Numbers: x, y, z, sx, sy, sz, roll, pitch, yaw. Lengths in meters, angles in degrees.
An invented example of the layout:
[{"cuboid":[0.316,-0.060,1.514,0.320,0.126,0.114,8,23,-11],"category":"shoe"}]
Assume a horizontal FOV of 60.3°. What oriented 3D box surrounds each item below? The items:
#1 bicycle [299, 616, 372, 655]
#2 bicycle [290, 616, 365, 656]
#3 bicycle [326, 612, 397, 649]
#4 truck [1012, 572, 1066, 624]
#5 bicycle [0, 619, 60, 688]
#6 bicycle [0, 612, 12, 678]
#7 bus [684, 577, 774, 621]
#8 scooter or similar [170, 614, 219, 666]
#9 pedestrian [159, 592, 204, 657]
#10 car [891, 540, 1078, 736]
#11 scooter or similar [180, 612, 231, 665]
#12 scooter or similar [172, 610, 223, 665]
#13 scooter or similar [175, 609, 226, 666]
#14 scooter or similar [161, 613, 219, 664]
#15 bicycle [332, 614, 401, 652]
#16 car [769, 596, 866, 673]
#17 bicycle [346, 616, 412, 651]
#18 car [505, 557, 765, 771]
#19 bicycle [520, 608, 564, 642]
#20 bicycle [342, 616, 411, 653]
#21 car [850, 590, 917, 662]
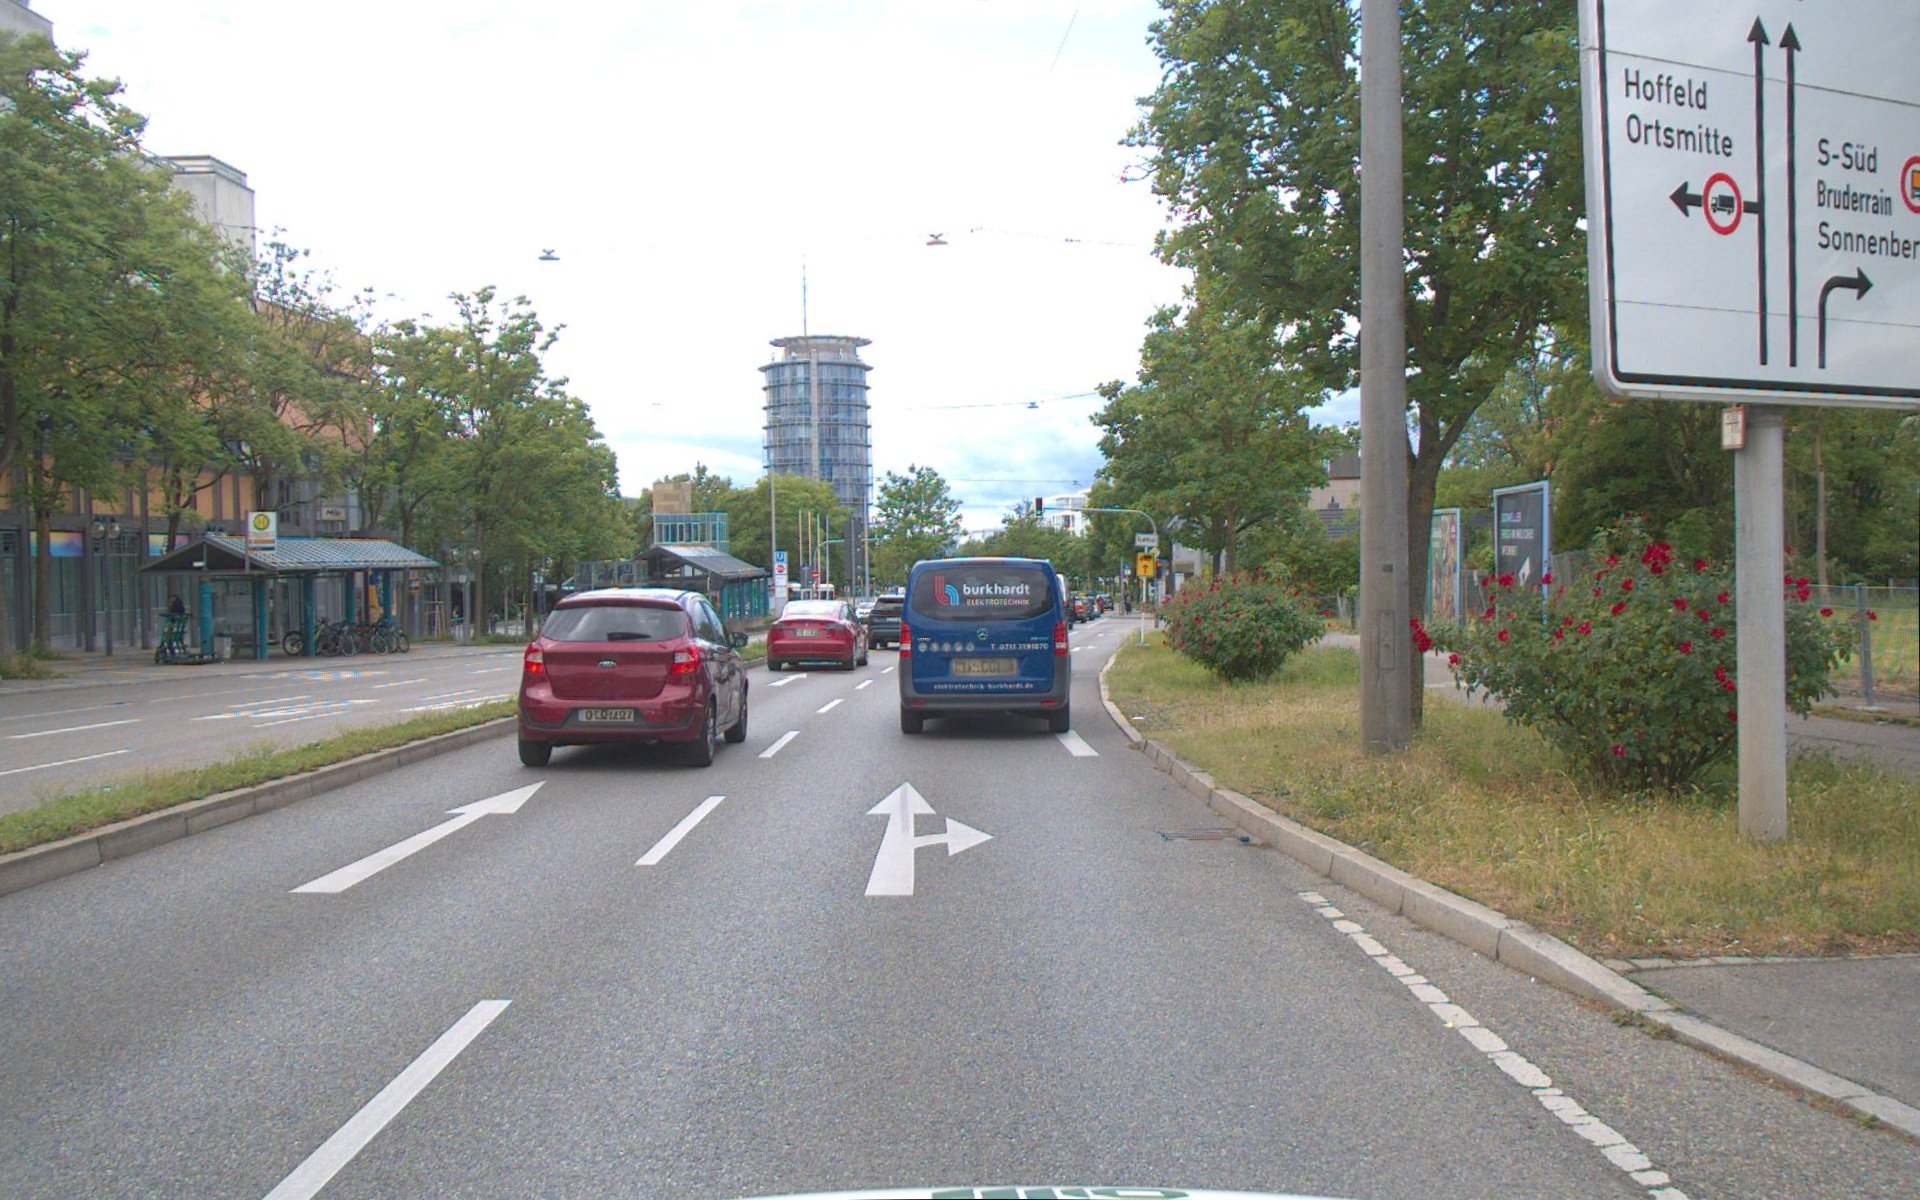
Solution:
[{"cuboid":[-19.737,1.124,52.320,2.026,1.173,0.710,1,-1,-9],"category":"bicycle"},{"cuboid":[-19.562,1.099,51.176,2.026,1.173,0.710,2,0,-9],"category":"bicycle"},{"cuboid":[-19.275,0.990,53.319,2.026,1.173,0.710,0,0,-9],"category":"bicycle"},{"cuboid":[3.612,-0.086,74.783,1.951,2.203,5.563,1,0,7],"category":"truck"},{"cuboid":[-18.240,1.020,31.641,0.615,1.275,1.675,-1,0,39],"category":"bicycle"},{"cuboid":[-19.276,0.896,31.814,0.615,1.275,1.675,-1,0,39],"category":"bicycle"},{"cuboid":[-17.336,-0.051,125.351,2.893,3.188,12.170,0,0,11],"category":"bus"},{"cuboid":[-19.751,1.032,42.670,1.104,1.318,0.268,-1,0,-1],"category":"scooter or similar"},{"cuboid":[-22.168,0.681,47.112,0.717,1.812,0.997,-1,0,3],"category":"pedestrian"},{"cuboid":[0.332,0.391,19.230,1.907,2.000,4.542,0,0,2],"category":"car"},{"cuboid":[-19.846,1.007,43.511,1.177,1.343,0.259,-1,0,-1],"category":"scooter or similar"},{"cuboid":[-19.795,0.972,42.944,1.177,1.409,0.222,-1,0,-1],"category":"scooter or similar"},{"cuboid":[-19.848,0.984,43.213,1.177,1.448,0.259,-1,0,-1],"category":"scooter or similar"},{"cuboid":[-19.698,0.990,42.310,1.294,1.292,0.339,0,0,-1],"category":"scooter or similar"},{"cuboid":[-19.635,1.080,54.711,2.027,1.173,0.710,-1,0,-9],"category":"bicycle"},{"cuboid":[-2.991,0.695,35.427,1.831,1.512,3.998,-1,0,-2],"category":"car"},{"cuboid":[-19.920,1.136,56.725,2.026,1.173,0.710,0,0,-9],"category":"bicycle"},{"cuboid":[-2.900,0.528,15.585,1.711,1.754,3.999,0,0,-1],"category":"car"},{"cuboid":[-16.822,1.001,66.651,1.030,1.293,2.426,1,0,3],"category":"bicycle"},{"cuboid":[-19.640,1.156,55.684,2.026,1.173,0.710,2,-1,-9],"category":"bicycle"},{"cuboid":[-2.293,0.754,50.211,1.953,2.049,3.999,0,1,-2],"category":"car"}]
